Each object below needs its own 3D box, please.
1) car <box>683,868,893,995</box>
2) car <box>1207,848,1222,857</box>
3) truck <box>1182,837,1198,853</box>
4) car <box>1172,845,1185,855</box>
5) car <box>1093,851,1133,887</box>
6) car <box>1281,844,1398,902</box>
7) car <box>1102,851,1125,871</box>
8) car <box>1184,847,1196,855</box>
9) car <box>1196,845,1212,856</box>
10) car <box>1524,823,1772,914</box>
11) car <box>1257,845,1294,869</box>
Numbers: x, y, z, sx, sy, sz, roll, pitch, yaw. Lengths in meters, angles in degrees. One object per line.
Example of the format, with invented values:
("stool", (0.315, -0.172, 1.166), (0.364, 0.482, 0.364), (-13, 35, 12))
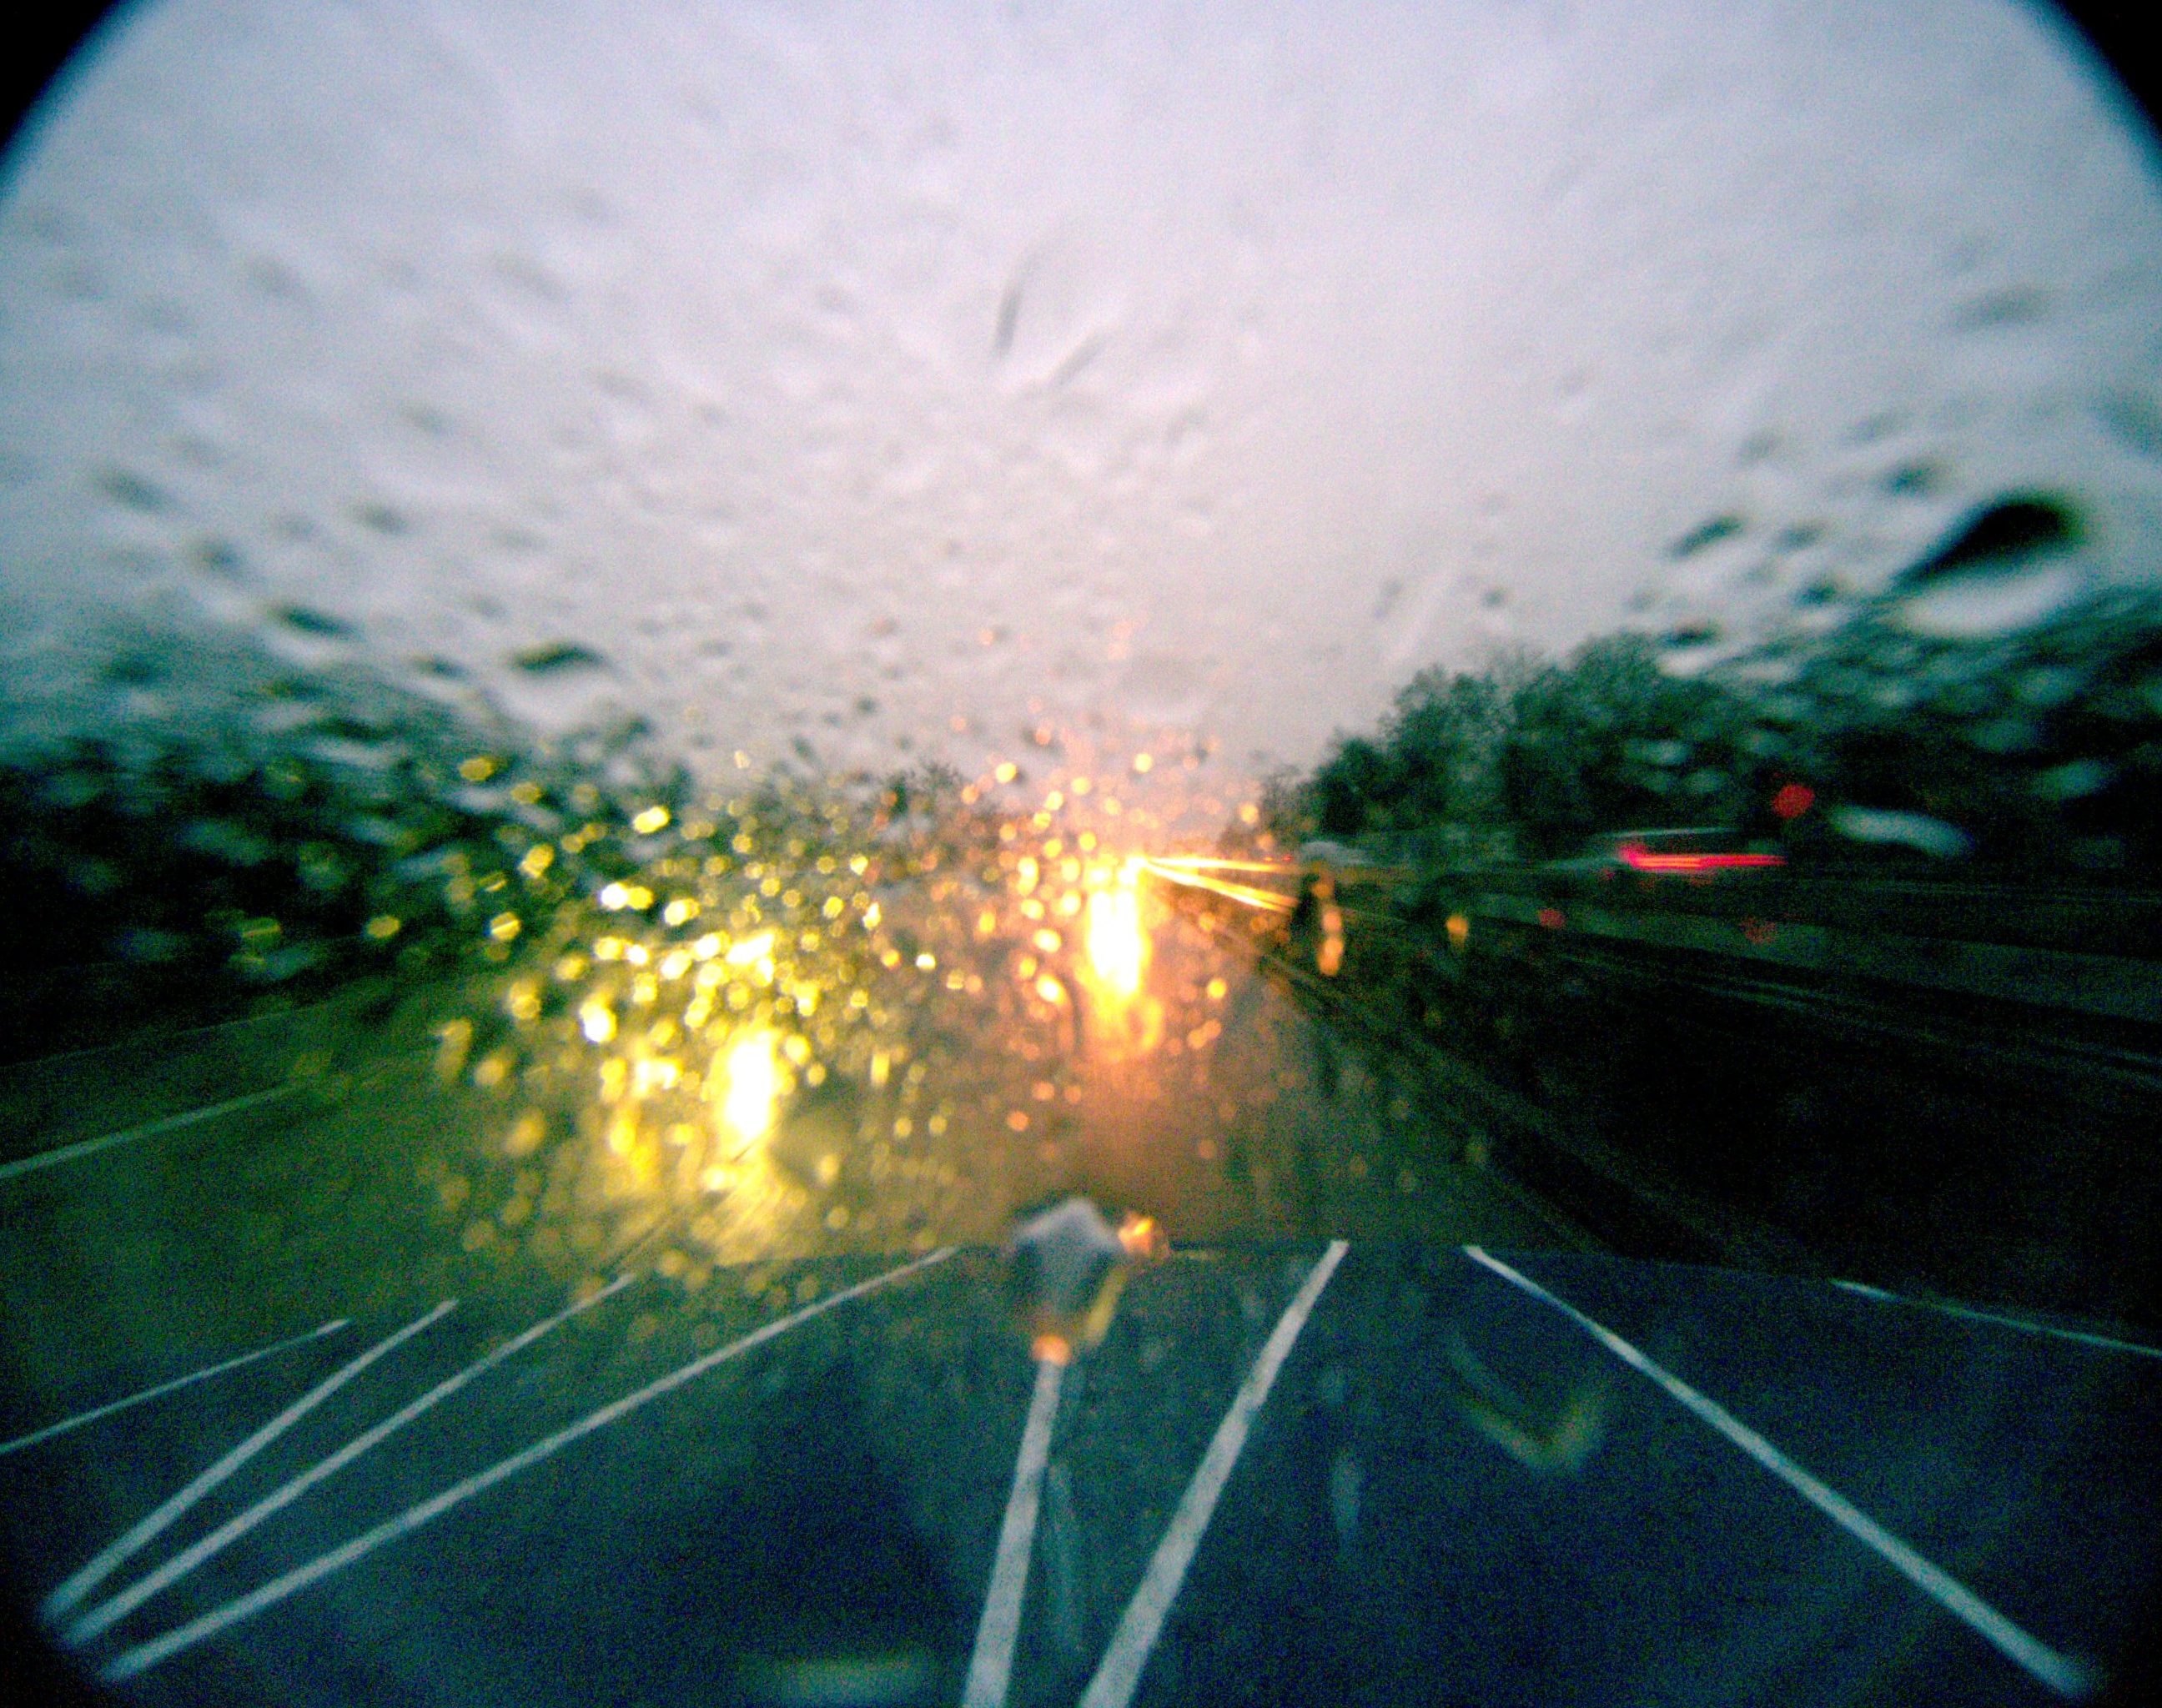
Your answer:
("car", (-4.121, 0.994, 11.453), (1.595, 1.445, 4.176), (-2, 0, -1))
("car", (23.052, -0.311, 131.603), (1.998, 1.505, 4.797), (-2, 0, 4))
("truck", (26.280, -2.173, 183.391), (3.084, 3.835, 9.371), (-2, 1, 5))
("car", (15.861, -0.615, 123.629), (1.869, 1.473, 4.672), (-2, 0, 3))
("car", (1.548, 0.656, 35.636), (1.758, 1.521, 4.001), (-2, 0, 4))
("car", (7.365, 0.477, 22.165), (1.871, 1.441, 4.645), (-2, 0, 1))
("car", (2.780, 0.562, 64.544), (1.758, 1.521, 4.001), (-2, 0, 4))
("car", (22.139, -0.620, 154.264), (1.998, 1.639, 4.001), (-2, 1, 4))
("car", (18.173, -0.519, 112.235), (1.998, 1.505, 4.284), (-2, 0, 4))
("car", (11.737, 0.252, 16.244), (1.871, 1.618, 4.645), (-2, 0, 1))
("car", (14.304, 0.185, 55.949), (1.731, 1.598, 4.179), (-2, 0, 2))
